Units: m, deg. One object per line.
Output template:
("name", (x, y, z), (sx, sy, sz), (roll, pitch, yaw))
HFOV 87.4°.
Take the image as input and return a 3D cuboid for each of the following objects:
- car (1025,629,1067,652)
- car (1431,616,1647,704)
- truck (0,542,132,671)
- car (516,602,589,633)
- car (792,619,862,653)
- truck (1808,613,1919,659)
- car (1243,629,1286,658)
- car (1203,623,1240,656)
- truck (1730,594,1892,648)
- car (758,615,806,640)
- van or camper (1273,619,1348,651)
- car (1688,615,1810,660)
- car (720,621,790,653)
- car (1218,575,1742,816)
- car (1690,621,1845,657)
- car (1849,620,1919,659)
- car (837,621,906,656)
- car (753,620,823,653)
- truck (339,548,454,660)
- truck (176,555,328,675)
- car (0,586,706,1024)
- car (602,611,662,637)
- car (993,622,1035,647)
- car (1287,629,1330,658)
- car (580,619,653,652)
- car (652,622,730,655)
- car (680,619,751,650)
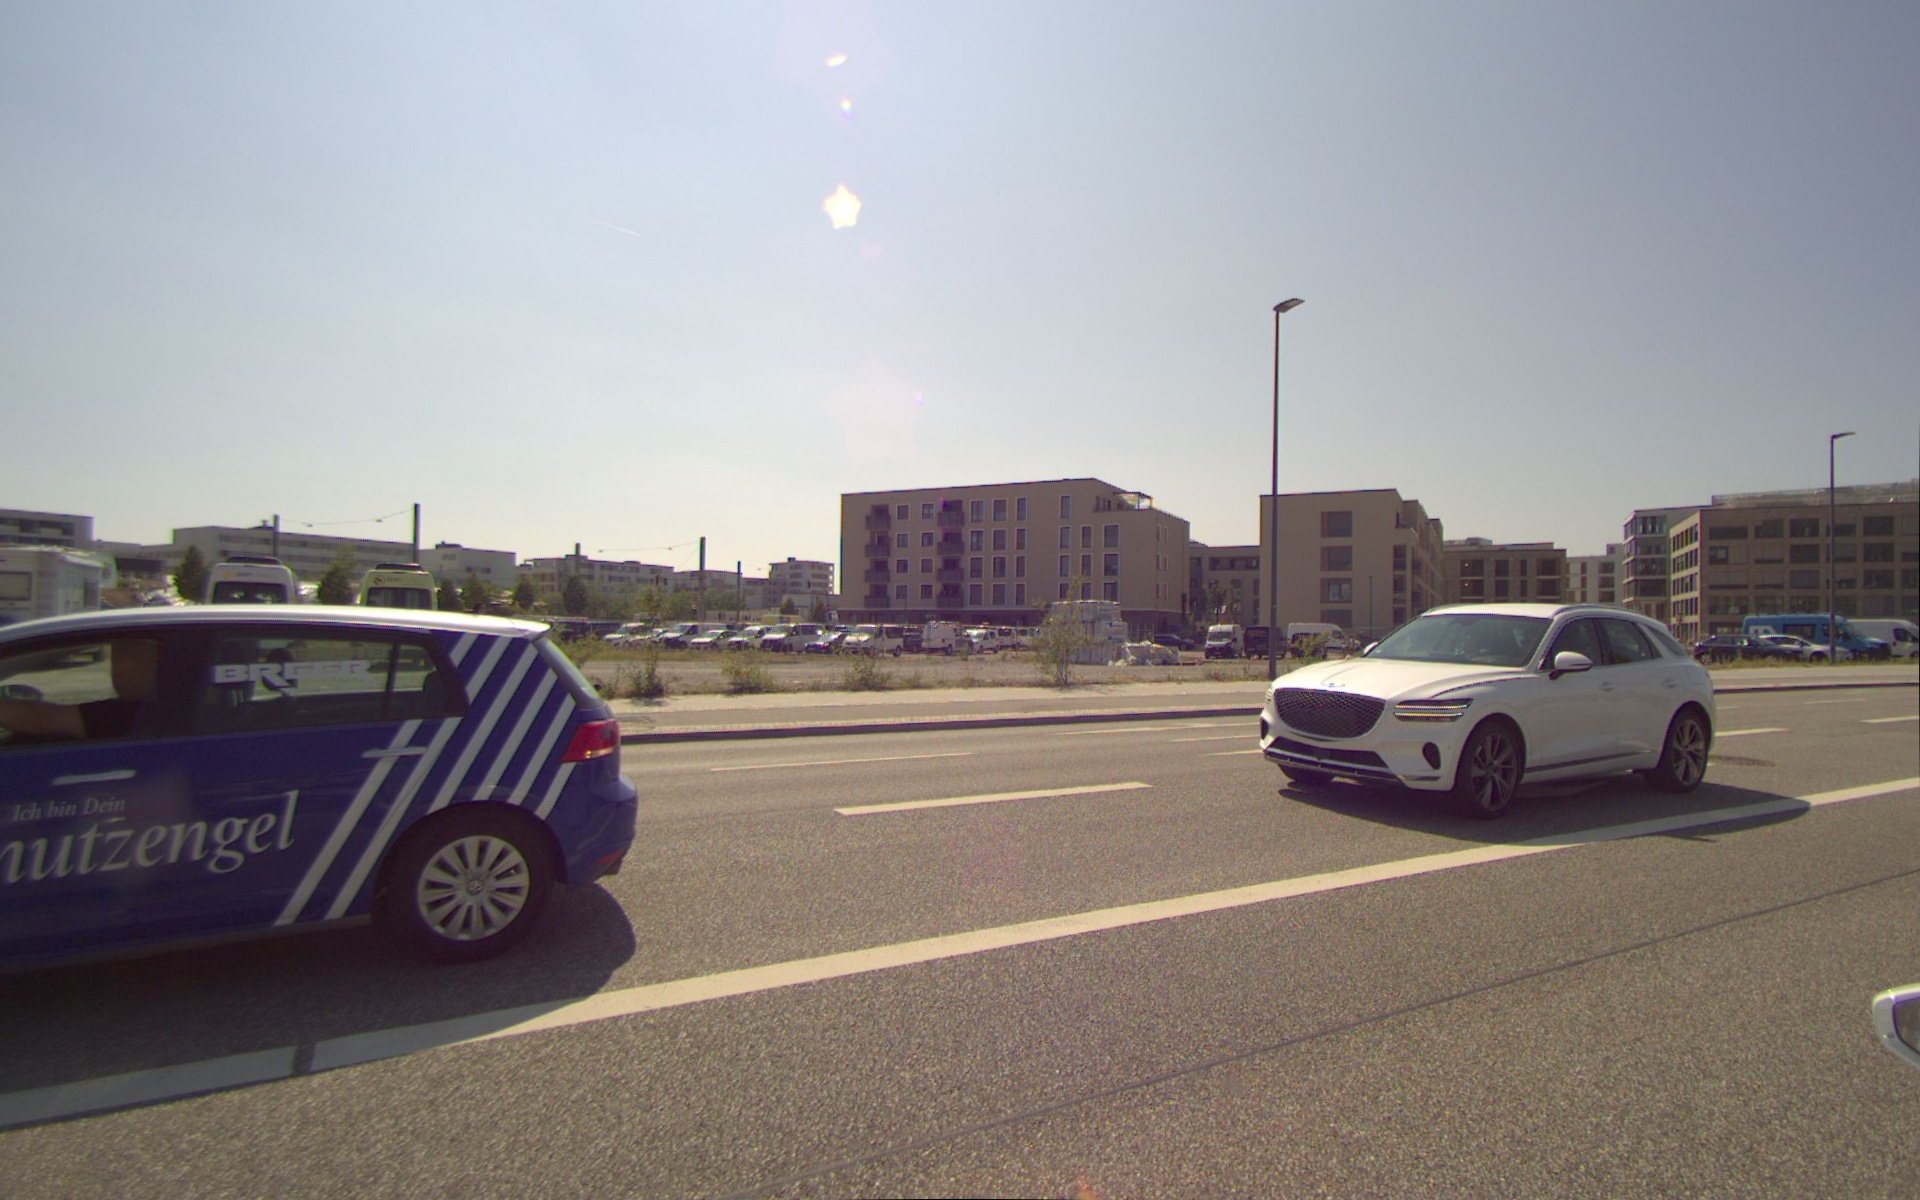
("car", (7.441, 3.453, 86.395), (1.965, 1.810, 3.991), (1, -1, 32))
("car", (10.696, 1.107, 18.547), (3.556, 1.433, 1.885), (3, -1, -30))
("truck", (-23.669, 0.075, 25.674), (2.539, 2.939, 6.120), (3, 0, -28))
("car", (-29.339, 1.216, 72.466), (1.964, 1.996, 4.646), (4, 2, 28))
("car", (-8.172, 2.224, 62.201), (1.964, 2.040, 4.647), (0, -2, 28))
("truck", (49.925, 1.959, 54.533), (2.248, 2.394, 5.541), (2, -2, -30))
("car", (21.582, 3.050, 71.130), (1.965, 1.873, 3.991), (1, 0, 32))
("car", (19.447, 2.899, 74.633), (1.962, 2.270, 3.996), (1, 0, 26))
("truck", (43.438, 1.109, 51.454), (2.249, 2.577, 5.973), (2, -2, -31))
("car", (-14.608, 2.287, 82.651), (1.963, 2.040, 3.996), (0, -2, 26))
("van or camper", (29.013, 2.867, 83.188), (5.813, 2.592, 1.936), (0, -2, 21))
("car", (35.449, 1.677, 45.250), (1.800, 1.929, 3.980), (1, -2, -21))
("car", (-13.380, 2.402, 65.741), (1.964, 1.996, 4.647), (0, -2, 28))
("car", (4.717, 0.725, 8.957), (4.674, 1.671, 1.905), (2, -1, -29))
("car", (39.807, 1.892, 49.703), (2.083, 1.494, 5.621), (2, 0, -31))
("car", (55.470, 2.245, 57.944), (2.368, 2.194, 5.853), (0, -1, -31))
("car", (-5.332, 2.347, 61.216), (1.964, 2.040, 4.647), (0, -2, 28))
("car", (-10.837, 2.287, 63.645), (1.964, 1.996, 4.647), (0, -2, 28))
("truck", (-16.466, 0.118, 29.304), (2.573, 2.863, 6.603), (1, 0, -30))
("truck", (-19.137, 0.363, 27.489), (2.539, 2.862, 5.811), (3, 0, -28))
("car", (-3.402, 0.677, 4.173), (4.230, 1.440, 1.778), (2, -1, -29))
("car", (-25.816, 1.929, 79.217), (1.805, 1.996, 4.475), (0, -2, 28))
("car", (4.696, 2.963, 87.345), (1.965, 2.040, 3.991), (1, 0, 32))
("car", (24.089, 2.950, 69.371), (1.965, 1.873, 3.991), (1, 0, 32))
("car", (-23.777, 2.400, 69.683), (1.964, 1.996, 4.646), (4, 2, 28))
("car", (-18.140, 2.574, 68.047), (1.963, 1.996, 5.389), (2, 0, 28))
("car", (-16.115, 2.281, 66.512), (1.964, 1.996, 4.647), (0, -2, 28))
